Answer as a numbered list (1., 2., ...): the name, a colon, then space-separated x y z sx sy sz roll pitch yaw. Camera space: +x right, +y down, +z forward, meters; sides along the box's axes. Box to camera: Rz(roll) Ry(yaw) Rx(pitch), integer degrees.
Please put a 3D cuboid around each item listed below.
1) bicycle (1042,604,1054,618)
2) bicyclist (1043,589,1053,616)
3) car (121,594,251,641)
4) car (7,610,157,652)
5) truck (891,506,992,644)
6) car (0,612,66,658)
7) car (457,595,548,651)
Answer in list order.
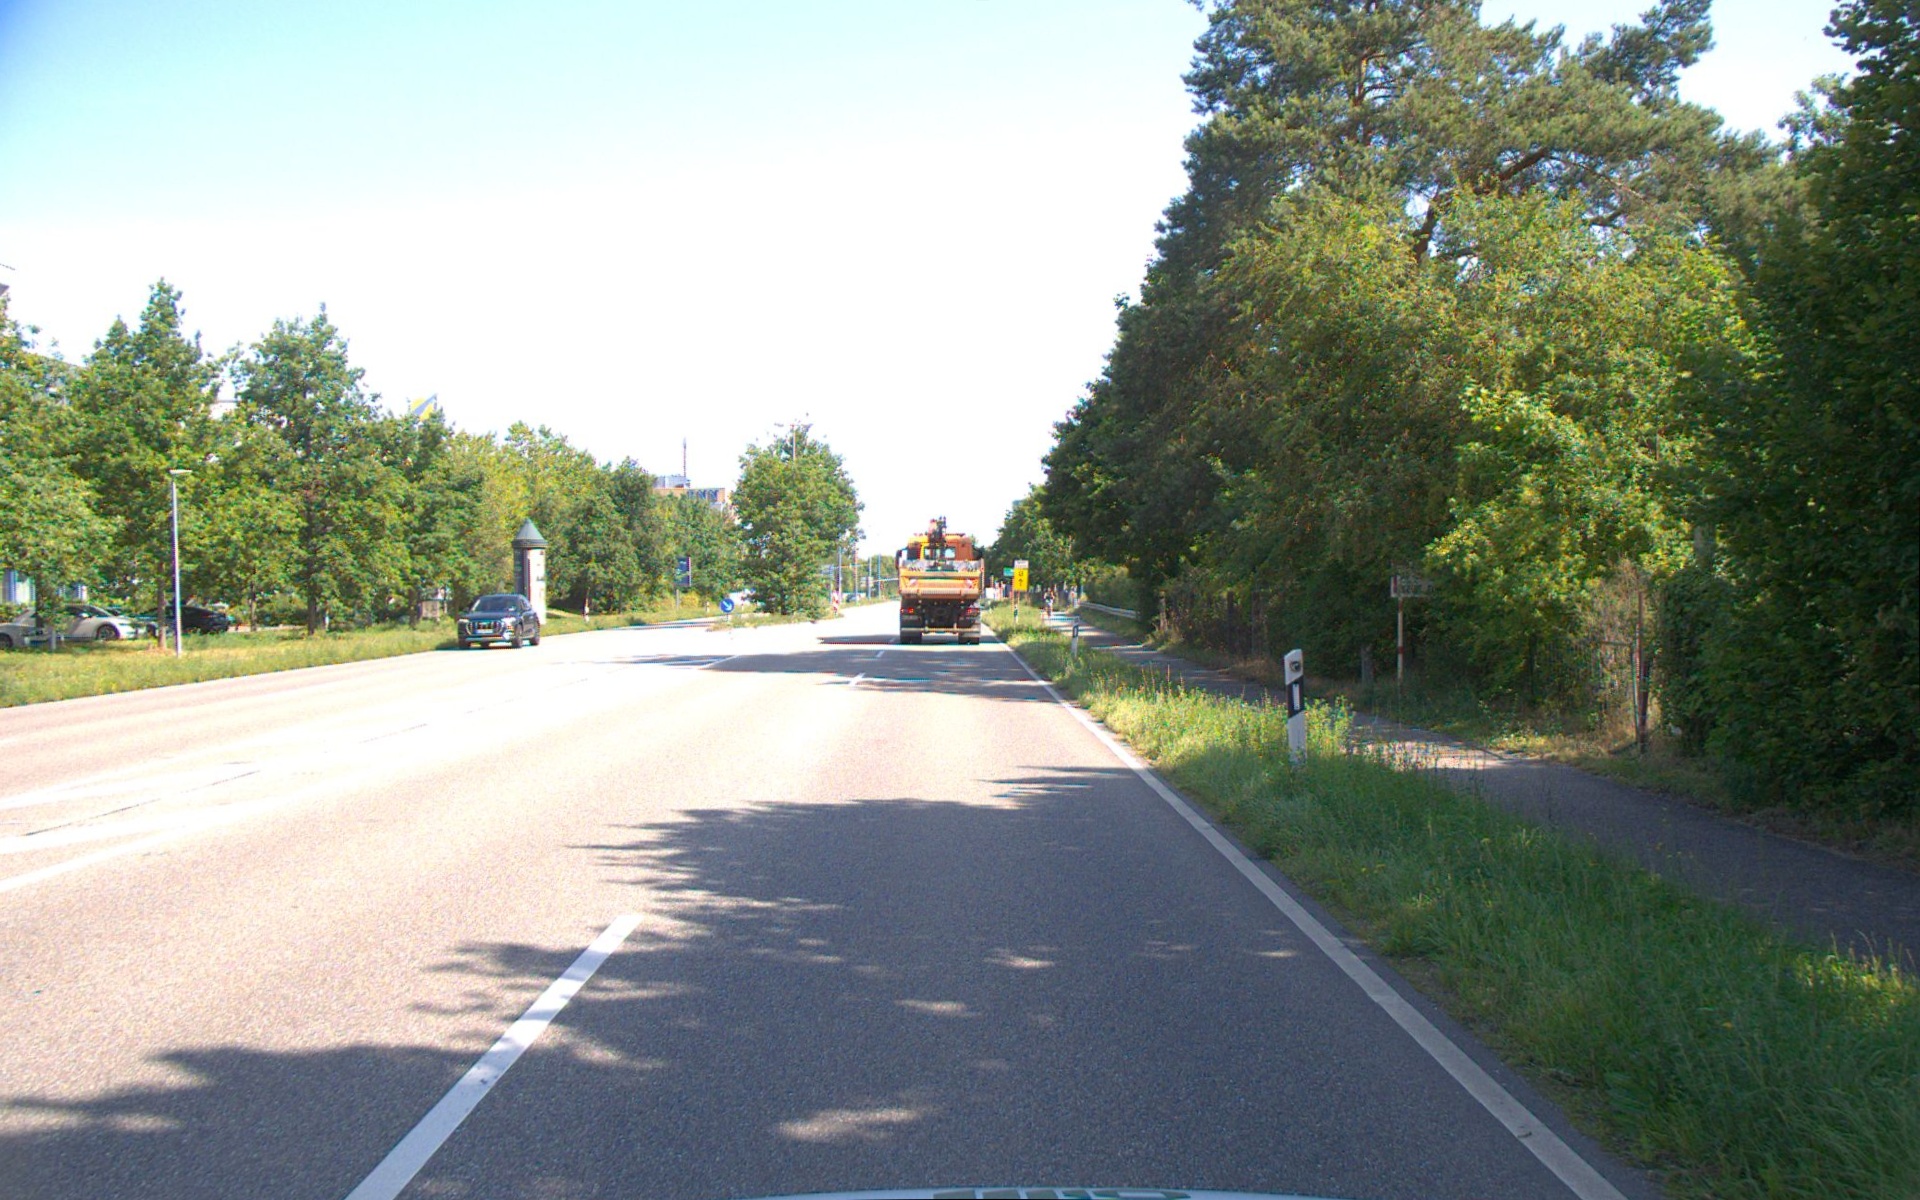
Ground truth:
1. bicycle: 5.239 0.653 98.698 0.547 0.830 1.963 -1 0 -1
2. bicyclist: 5.231 0.172 98.604 0.547 1.585 0.557 -1 0 -1
3. car: -32.195 0.723 68.904 4.439 1.788 2.001 -2 0 2
4. car: -32.988 1.156 62.231 4.501 1.462 2.000 -1 0 -1
5. truck: -0.689 -0.745 51.770 2.814 3.948 7.396 1 0 -3
6. car: -32.962 1.195 55.791 4.501 1.462 2.000 -1 0 -1
7. car: -14.315 0.689 52.000 1.764 1.599 3.999 -2 0 -1
